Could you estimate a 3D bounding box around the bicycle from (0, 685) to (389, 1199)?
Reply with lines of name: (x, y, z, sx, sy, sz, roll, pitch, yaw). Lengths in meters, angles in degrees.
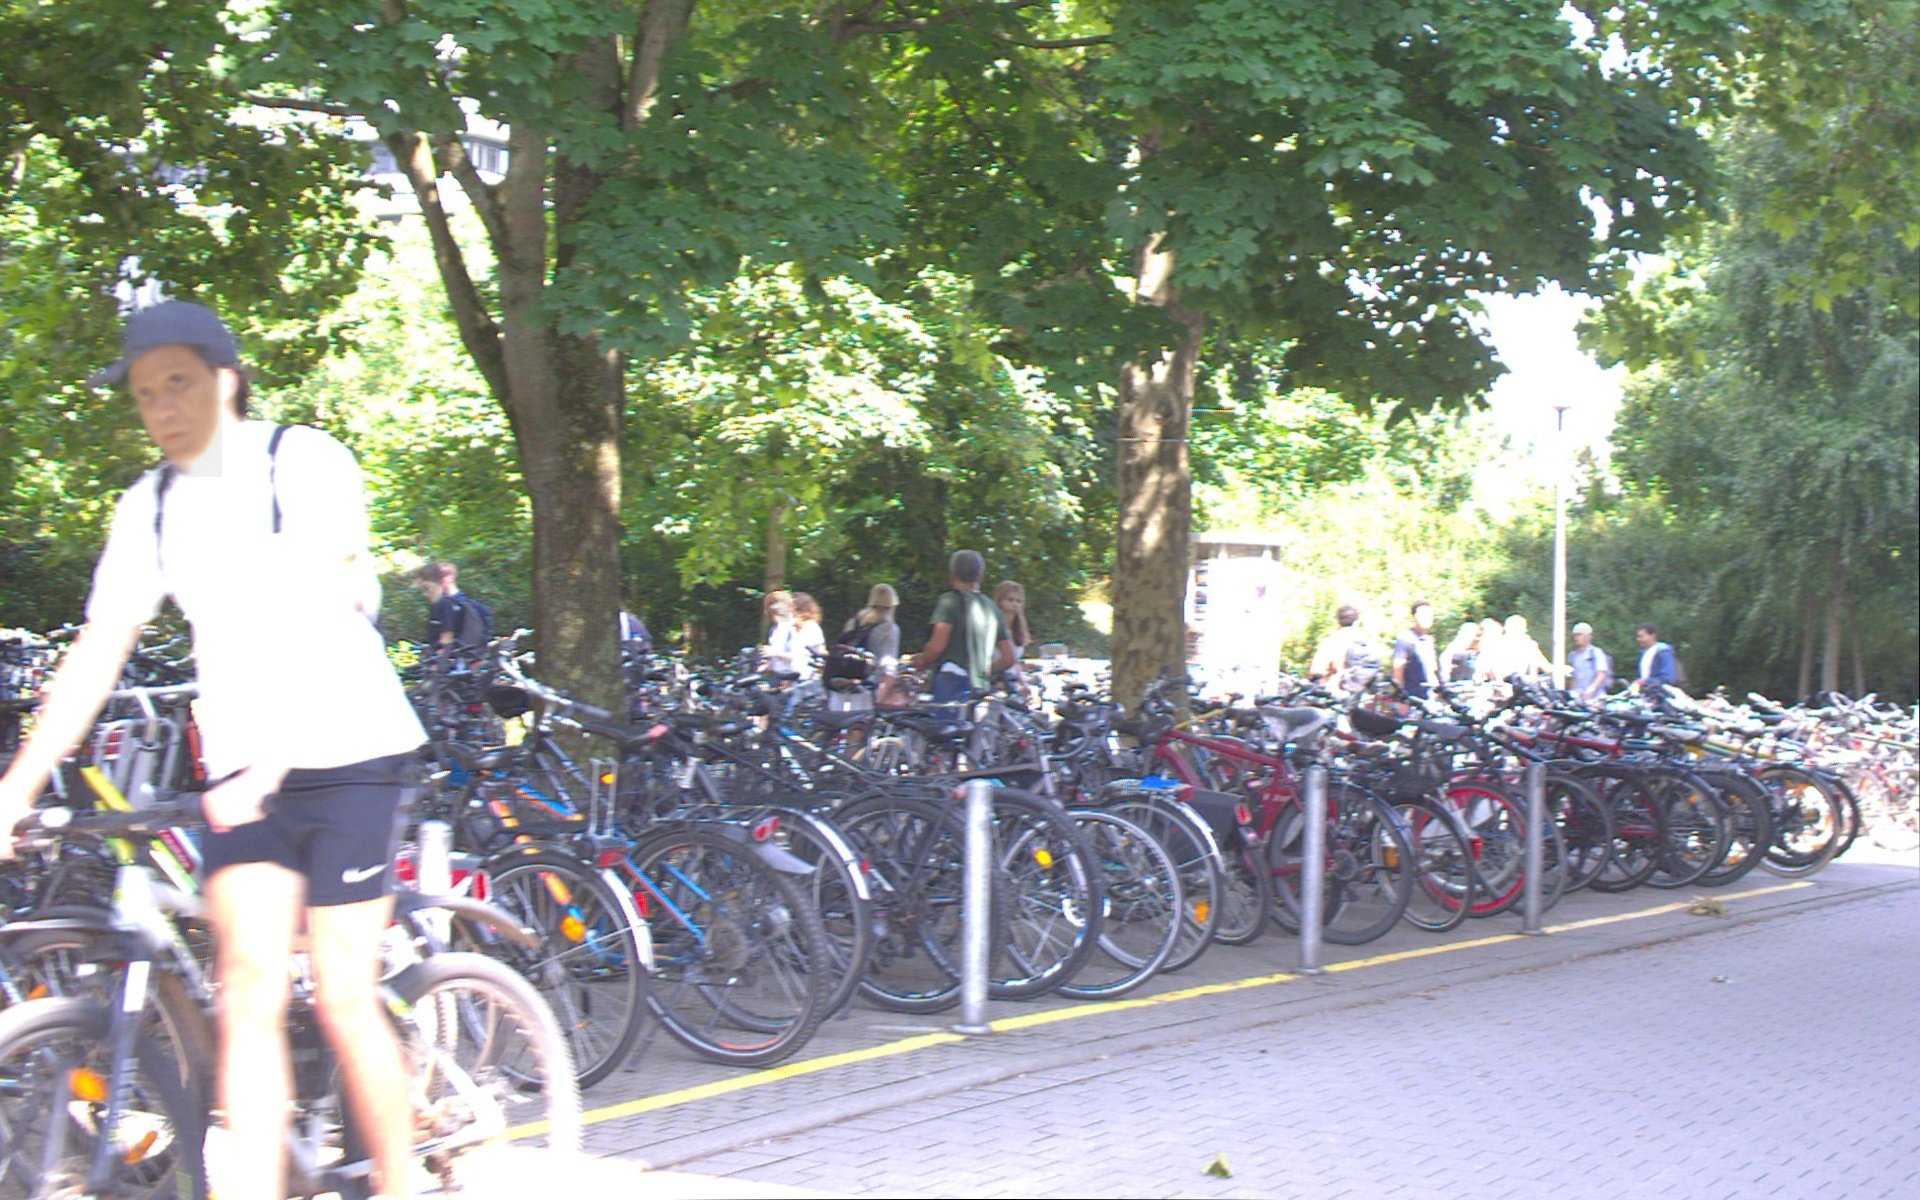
bicycle: (-2.122, 0.762, 7.904, 1.627, 1.104, 0.496, 2, -1, 32)

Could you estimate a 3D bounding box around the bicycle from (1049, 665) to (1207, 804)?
bicycle: (1.389, 1.115, 28.784, 0.472, 1.080, 1.700, 3, -1, -28)

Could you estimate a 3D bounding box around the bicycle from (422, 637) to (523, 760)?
bicycle: (-4.686, 0.933, 32.973, 0.515, 1.106, 1.778, 3, -1, -21)

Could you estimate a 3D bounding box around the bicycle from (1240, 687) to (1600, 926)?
bicycle: (2.372, 1.047, 17.759, 1.737, 1.122, 0.496, 2, -1, 22)

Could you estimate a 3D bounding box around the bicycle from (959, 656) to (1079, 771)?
bicycle: (0.598, 1.162, 35.543, 0.472, 1.106, 1.778, 3, -1, -25)

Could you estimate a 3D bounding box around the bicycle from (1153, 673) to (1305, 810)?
bicycle: (2.287, 1.197, 29.393, 0.472, 1.080, 1.700, 3, -1, -25)

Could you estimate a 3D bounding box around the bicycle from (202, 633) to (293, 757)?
bicycle: (-6.780, 0.887, 32.666, 0.515, 1.106, 1.778, 3, -1, -21)

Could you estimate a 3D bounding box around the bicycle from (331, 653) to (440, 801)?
bicycle: (-4.509, 0.977, 26.902, 0.472, 1.080, 1.700, 3, -1, -21)

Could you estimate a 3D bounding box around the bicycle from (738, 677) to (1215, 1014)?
bicycle: (0.055, 0.866, 12.491, 1.626, 1.104, 0.496, 2, -1, 22)

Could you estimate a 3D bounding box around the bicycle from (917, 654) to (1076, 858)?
bicycle: (0.212, 0.961, 21.704, 0.574, 1.195, 1.700, 3, -1, -13)

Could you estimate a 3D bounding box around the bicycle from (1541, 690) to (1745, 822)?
bicycle: (6.095, 1.383, 30.720, 1.722, 1.080, 0.473, 2, -1, 37)

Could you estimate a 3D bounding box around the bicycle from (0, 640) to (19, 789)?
bicycle: (-7.462, 0.847, 26.109, 0.472, 1.080, 1.700, 3, -1, -12)

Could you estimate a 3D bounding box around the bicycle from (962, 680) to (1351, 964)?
bicycle: (0.832, 0.933, 14.855, 1.628, 1.104, 0.561, 2, -1, 41)

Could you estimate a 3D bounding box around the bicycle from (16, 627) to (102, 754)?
bicycle: (-8.356, 0.824, 31.845, 0.515, 1.106, 1.778, 3, -1, -21)

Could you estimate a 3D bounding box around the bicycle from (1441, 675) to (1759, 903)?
bicycle: (3.749, 1.090, 20.146, 1.737, 1.231, 0.496, 2, -1, 20)

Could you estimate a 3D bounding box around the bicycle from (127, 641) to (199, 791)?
bicycle: (-6.093, 0.873, 26.324, 0.472, 1.080, 1.700, 3, -1, -12)

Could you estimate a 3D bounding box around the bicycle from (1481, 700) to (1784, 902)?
bicycle: (4.019, 1.186, 20.543, 1.695, 1.104, 0.496, 2, -1, 16)

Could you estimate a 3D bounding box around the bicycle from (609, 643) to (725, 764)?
bicycle: (-2.883, 1.004, 33.698, 0.515, 1.106, 1.778, 3, -1, -25)

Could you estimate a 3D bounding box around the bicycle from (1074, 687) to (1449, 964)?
bicycle: (1.315, 0.973, 15.209, 1.628, 1.104, 0.496, 2, -1, 41)

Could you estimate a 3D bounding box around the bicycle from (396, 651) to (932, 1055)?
bicycle: (-0.947, 0.769, 10.875, 1.627, 1.147, 0.496, 2, -1, 27)

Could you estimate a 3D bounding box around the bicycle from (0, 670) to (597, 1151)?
bicycle: (-1.775, 0.771, 8.996, 1.627, 1.104, 0.505, 2, -1, 32)

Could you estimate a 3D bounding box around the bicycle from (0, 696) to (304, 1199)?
bicycle: (-2.196, 0.758, 7.303, 1.627, 1.104, 0.496, 2, -1, 32)

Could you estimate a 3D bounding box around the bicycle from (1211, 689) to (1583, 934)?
bicycle: (2.175, 1.035, 17.165, 1.737, 1.104, 0.496, 2, -1, 27)

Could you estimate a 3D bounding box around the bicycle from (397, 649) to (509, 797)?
bicycle: (-3.994, 0.951, 27.023, 0.472, 1.080, 1.700, 3, -1, -21)

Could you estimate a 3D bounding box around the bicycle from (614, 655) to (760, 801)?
bicycle: (-2.196, 1.011, 27.476, 0.472, 1.080, 1.700, 3, -1, -28)

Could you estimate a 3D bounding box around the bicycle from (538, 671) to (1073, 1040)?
bicycle: (-0.516, 0.825, 11.516, 1.626, 1.104, 0.644, 2, -1, 22)

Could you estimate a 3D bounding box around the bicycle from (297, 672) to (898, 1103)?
bicycle: (-1.072, 0.800, 10.060, 1.627, 1.104, 0.689, 2, -1, 32)

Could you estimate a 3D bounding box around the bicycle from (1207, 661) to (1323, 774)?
bicycle: (3.184, 1.214, 36.012, 0.472, 1.106, 1.778, 3, -1, -20)

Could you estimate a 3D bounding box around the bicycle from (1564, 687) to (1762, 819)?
bicycle: (6.367, 1.377, 31.167, 1.698, 1.106, 0.473, 2, -1, 39)

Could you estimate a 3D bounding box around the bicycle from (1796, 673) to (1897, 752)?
bicycle: (12.664, 1.605, 49.075, 1.694, 1.043, 0.474, 4, 0, -42)

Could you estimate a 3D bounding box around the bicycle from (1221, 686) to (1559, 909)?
bicycle: (2.302, 1.052, 18.523, 1.735, 1.104, 0.497, 2, -1, 3)

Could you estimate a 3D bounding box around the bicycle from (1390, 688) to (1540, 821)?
bicycle: (4.404, 1.338, 30.072, 0.472, 1.080, 1.700, 3, -1, -22)

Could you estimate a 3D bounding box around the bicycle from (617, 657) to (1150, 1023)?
bicycle: (-0.277, 0.818, 12.106, 1.781, 1.158, 0.496, 2, -1, 22)

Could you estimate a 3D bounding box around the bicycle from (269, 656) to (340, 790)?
bicycle: (-5.035, 0.925, 26.369, 0.450, 0.958, 1.740, 3, -1, -12)

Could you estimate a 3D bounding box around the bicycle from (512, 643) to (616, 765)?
bicycle: (-3.842, 0.994, 33.276, 0.515, 1.106, 1.778, 3, -1, -21)

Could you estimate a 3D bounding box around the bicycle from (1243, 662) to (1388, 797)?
bicycle: (3.050, 1.103, 29.650, 0.472, 1.080, 1.700, 3, -1, -22)

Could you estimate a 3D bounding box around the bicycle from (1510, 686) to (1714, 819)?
bicycle: (5.743, 1.336, 30.336, 1.698, 1.080, 0.473, 2, -1, 37)

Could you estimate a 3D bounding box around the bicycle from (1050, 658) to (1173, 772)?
bicycle: (1.563, 1.184, 35.649, 0.472, 1.106, 1.778, 3, -1, -25)

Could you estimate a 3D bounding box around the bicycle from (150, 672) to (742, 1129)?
bicycle: (-1.429, 0.786, 9.434, 1.627, 1.104, 0.496, 2, -1, 32)

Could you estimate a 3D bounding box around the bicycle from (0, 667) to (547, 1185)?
bicycle: (-1.872, 0.747, 8.408, 1.627, 1.104, 0.628, 2, -1, 31)

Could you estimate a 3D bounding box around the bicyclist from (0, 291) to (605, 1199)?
bicyclist: (-1.284, 0.430, 6.242, 0.804, 1.885, 0.866, 3, 0, 35)

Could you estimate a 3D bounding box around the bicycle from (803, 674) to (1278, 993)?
bicycle: (0.299, 0.881, 13.442, 1.725, 1.104, 0.717, 2, -1, 38)

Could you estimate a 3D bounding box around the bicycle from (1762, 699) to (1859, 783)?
bicycle: (11.255, 1.857, 45.538, 0.472, 1.043, 1.700, 3, -1, -14)

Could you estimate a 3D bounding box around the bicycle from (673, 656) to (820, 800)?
bicycle: (-1.736, 1.015, 27.709, 0.472, 1.080, 1.700, 3, -1, -28)

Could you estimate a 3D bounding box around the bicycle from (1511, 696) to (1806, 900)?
bicycle: (4.268, 1.195, 21.004, 1.695, 1.141, 0.474, 2, -1, 15)

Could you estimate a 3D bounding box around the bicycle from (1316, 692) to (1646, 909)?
bicycle: (2.906, 1.104, 19.171, 1.736, 1.104, 0.496, 2, -1, 15)

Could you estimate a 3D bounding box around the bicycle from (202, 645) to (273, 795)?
bicycle: (-5.527, 0.901, 26.262, 0.472, 1.080, 1.700, 3, -1, -12)

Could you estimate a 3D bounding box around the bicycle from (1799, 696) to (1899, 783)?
bicycle: (11.827, 1.850, 45.791, 0.472, 1.043, 1.700, 4, 0, -14)

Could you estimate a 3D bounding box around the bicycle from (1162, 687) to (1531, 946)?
bicycle: (1.818, 1.005, 16.369, 0.573, 1.104, 1.740, 3, -1, -44)

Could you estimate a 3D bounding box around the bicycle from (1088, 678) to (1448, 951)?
bicycle: (1.403, 0.966, 15.849, 1.628, 1.140, 0.496, 2, -1, 41)

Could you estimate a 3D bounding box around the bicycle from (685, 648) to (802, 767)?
bicycle: (-2.168, 1.059, 34.201, 0.515, 1.106, 1.778, 3, -1, -25)

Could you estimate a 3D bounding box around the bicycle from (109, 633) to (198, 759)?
bicycle: (-7.570, 0.887, 32.213, 0.515, 1.106, 1.778, 3, -1, -21)

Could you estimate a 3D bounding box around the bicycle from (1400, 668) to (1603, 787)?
bicycle: (5.418, 1.271, 34.401, 1.904, 1.043, 0.541, 4, -1, 14)

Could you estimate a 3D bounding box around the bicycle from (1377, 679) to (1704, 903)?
bicycle: (3.324, 1.081, 19.734, 1.737, 1.174, 0.496, 2, -1, 26)

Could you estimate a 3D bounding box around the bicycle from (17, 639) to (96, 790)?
bicycle: (-6.874, 0.855, 26.191, 0.472, 1.080, 1.700, 3, -1, -12)

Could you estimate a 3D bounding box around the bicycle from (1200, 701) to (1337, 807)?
bicycle: (3.467, 1.727, 38.790, 0.472, 1.106, 1.778, 3, -1, -34)
